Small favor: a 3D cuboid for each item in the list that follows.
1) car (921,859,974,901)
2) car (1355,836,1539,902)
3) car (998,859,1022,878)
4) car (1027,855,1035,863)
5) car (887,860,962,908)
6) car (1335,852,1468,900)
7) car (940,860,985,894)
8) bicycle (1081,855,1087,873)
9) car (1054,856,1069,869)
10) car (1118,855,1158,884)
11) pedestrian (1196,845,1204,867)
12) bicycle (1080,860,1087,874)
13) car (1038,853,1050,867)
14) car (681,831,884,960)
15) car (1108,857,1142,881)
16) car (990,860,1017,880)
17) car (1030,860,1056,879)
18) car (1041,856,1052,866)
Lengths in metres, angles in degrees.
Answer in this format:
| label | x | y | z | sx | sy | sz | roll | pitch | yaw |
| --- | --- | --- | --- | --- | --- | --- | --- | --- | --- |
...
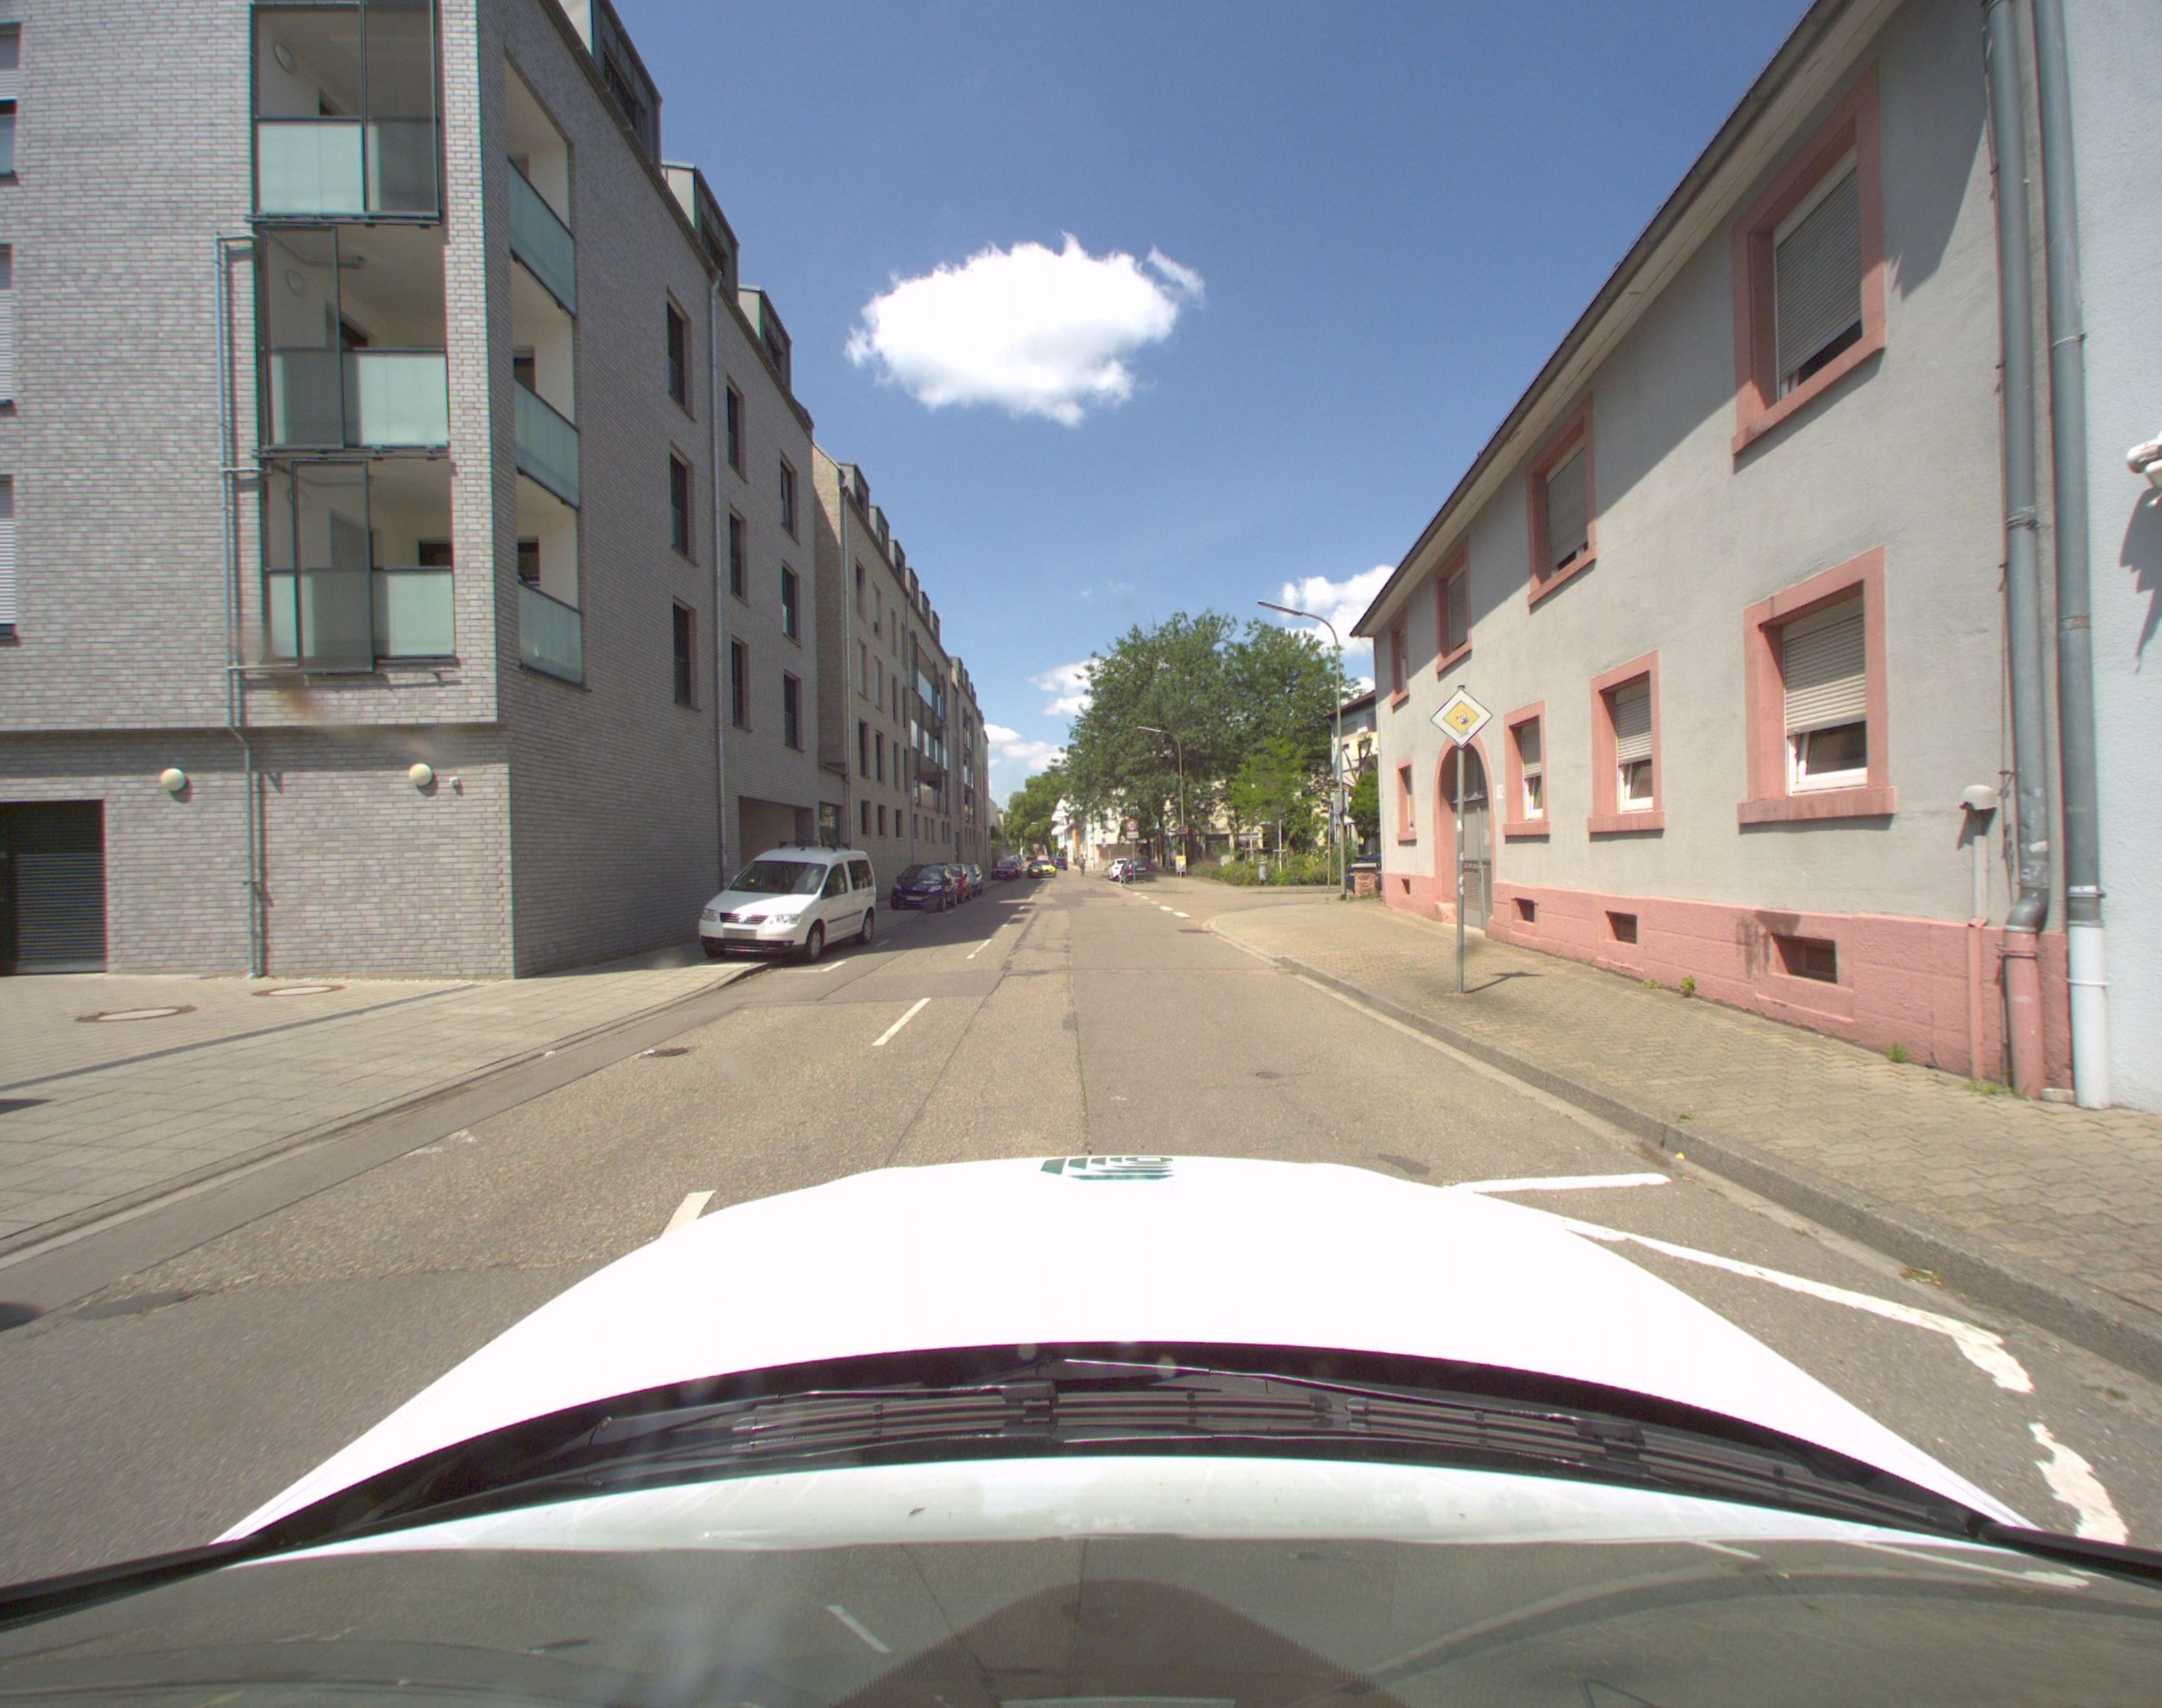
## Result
| label | x | y | z | sx | sy | sz | roll | pitch | yaw |
| --- | --- | --- | --- | --- | --- | --- | --- | --- | --- |
| car | -5.146 | 0.967 | 31.761 | 1.586 | 1.554 | 3.568 | -1 | 0 | -2 |
| car | 10.041 | 0.427 | 22.589 | 4.252 | 1.530 | 1.742 | -3 | -2 | 1 |
| car | -5.810 | 1.157 | 67.091 | 1.728 | 1.442 | 3.997 | -1 | 0 | -2 |
| car | -14.432 | 1.397 | 233.626 | 2.152 | 2.013 | 3.995 | -1 | 0 | -4 |
| car | -5.084 | 0.931 | 26.950 | 1.717 | 1.456 | 4.004 | 0 | 0 | 0 |
| car | 10.271 | 0.682 | 26.265 | 3.589 | 1.448 | 1.741 | 0 | 2 | -2 |
| car | -5.313 | 1.008 | 36.885 | 1.586 | 1.456 | 3.700 | 1 | 0 | -2 |
| bicycle | 0.222 | 0.840 | 67.125 | 0.476 | 1.490 | 0.575 | -1 | -1 | -3 |
| car | -2.212 | 0.976 | 92.956 | 1.710 | 1.402 | 3.998 | -1 | 0 | -1 |
| car | 3.090 | 0.843 | 44.853 | 1.688 | 1.420 | 3.996 | -4 | 0 | -2 |
| pedestrian | 10.214 | 0.165 | 69.911 | 0.591 | 1.859 | 0.606 | -1 | 0 | 14 |
| bicycle | 0.229 | 1.095 | 67.130 | 0.482 | 1.115 | 1.194 | -1 | -1 | -2 |
| car | -5.631 | 0.840 | 123.955 | 1.834 | 2.013 | 3.997 | -1 | 0 | -2 |
| car | -4.994 | 0.617 | 14.362 | 1.750 | 1.892 | 4.339 | 1 | 0 | 3 |
| car | 2.770 | 0.919 | 51.663 | 1.774 | 1.420 | 3.996 | -1 | 0 | -2 |
| car | -5.881 | 1.170 | 62.045 | 1.728 | 1.442 | 3.997 | -1 | 0 | -2 |
| car | -3.019 | 1.194 | 64.570 | 1.989 | 1.381 | 4.387 | 1 | 0 | -4 |
| car | -5.886 | 1.207 | 138.998 | 1.707 | 1.634 | 3.699 | -1 | 0 | -3 |
